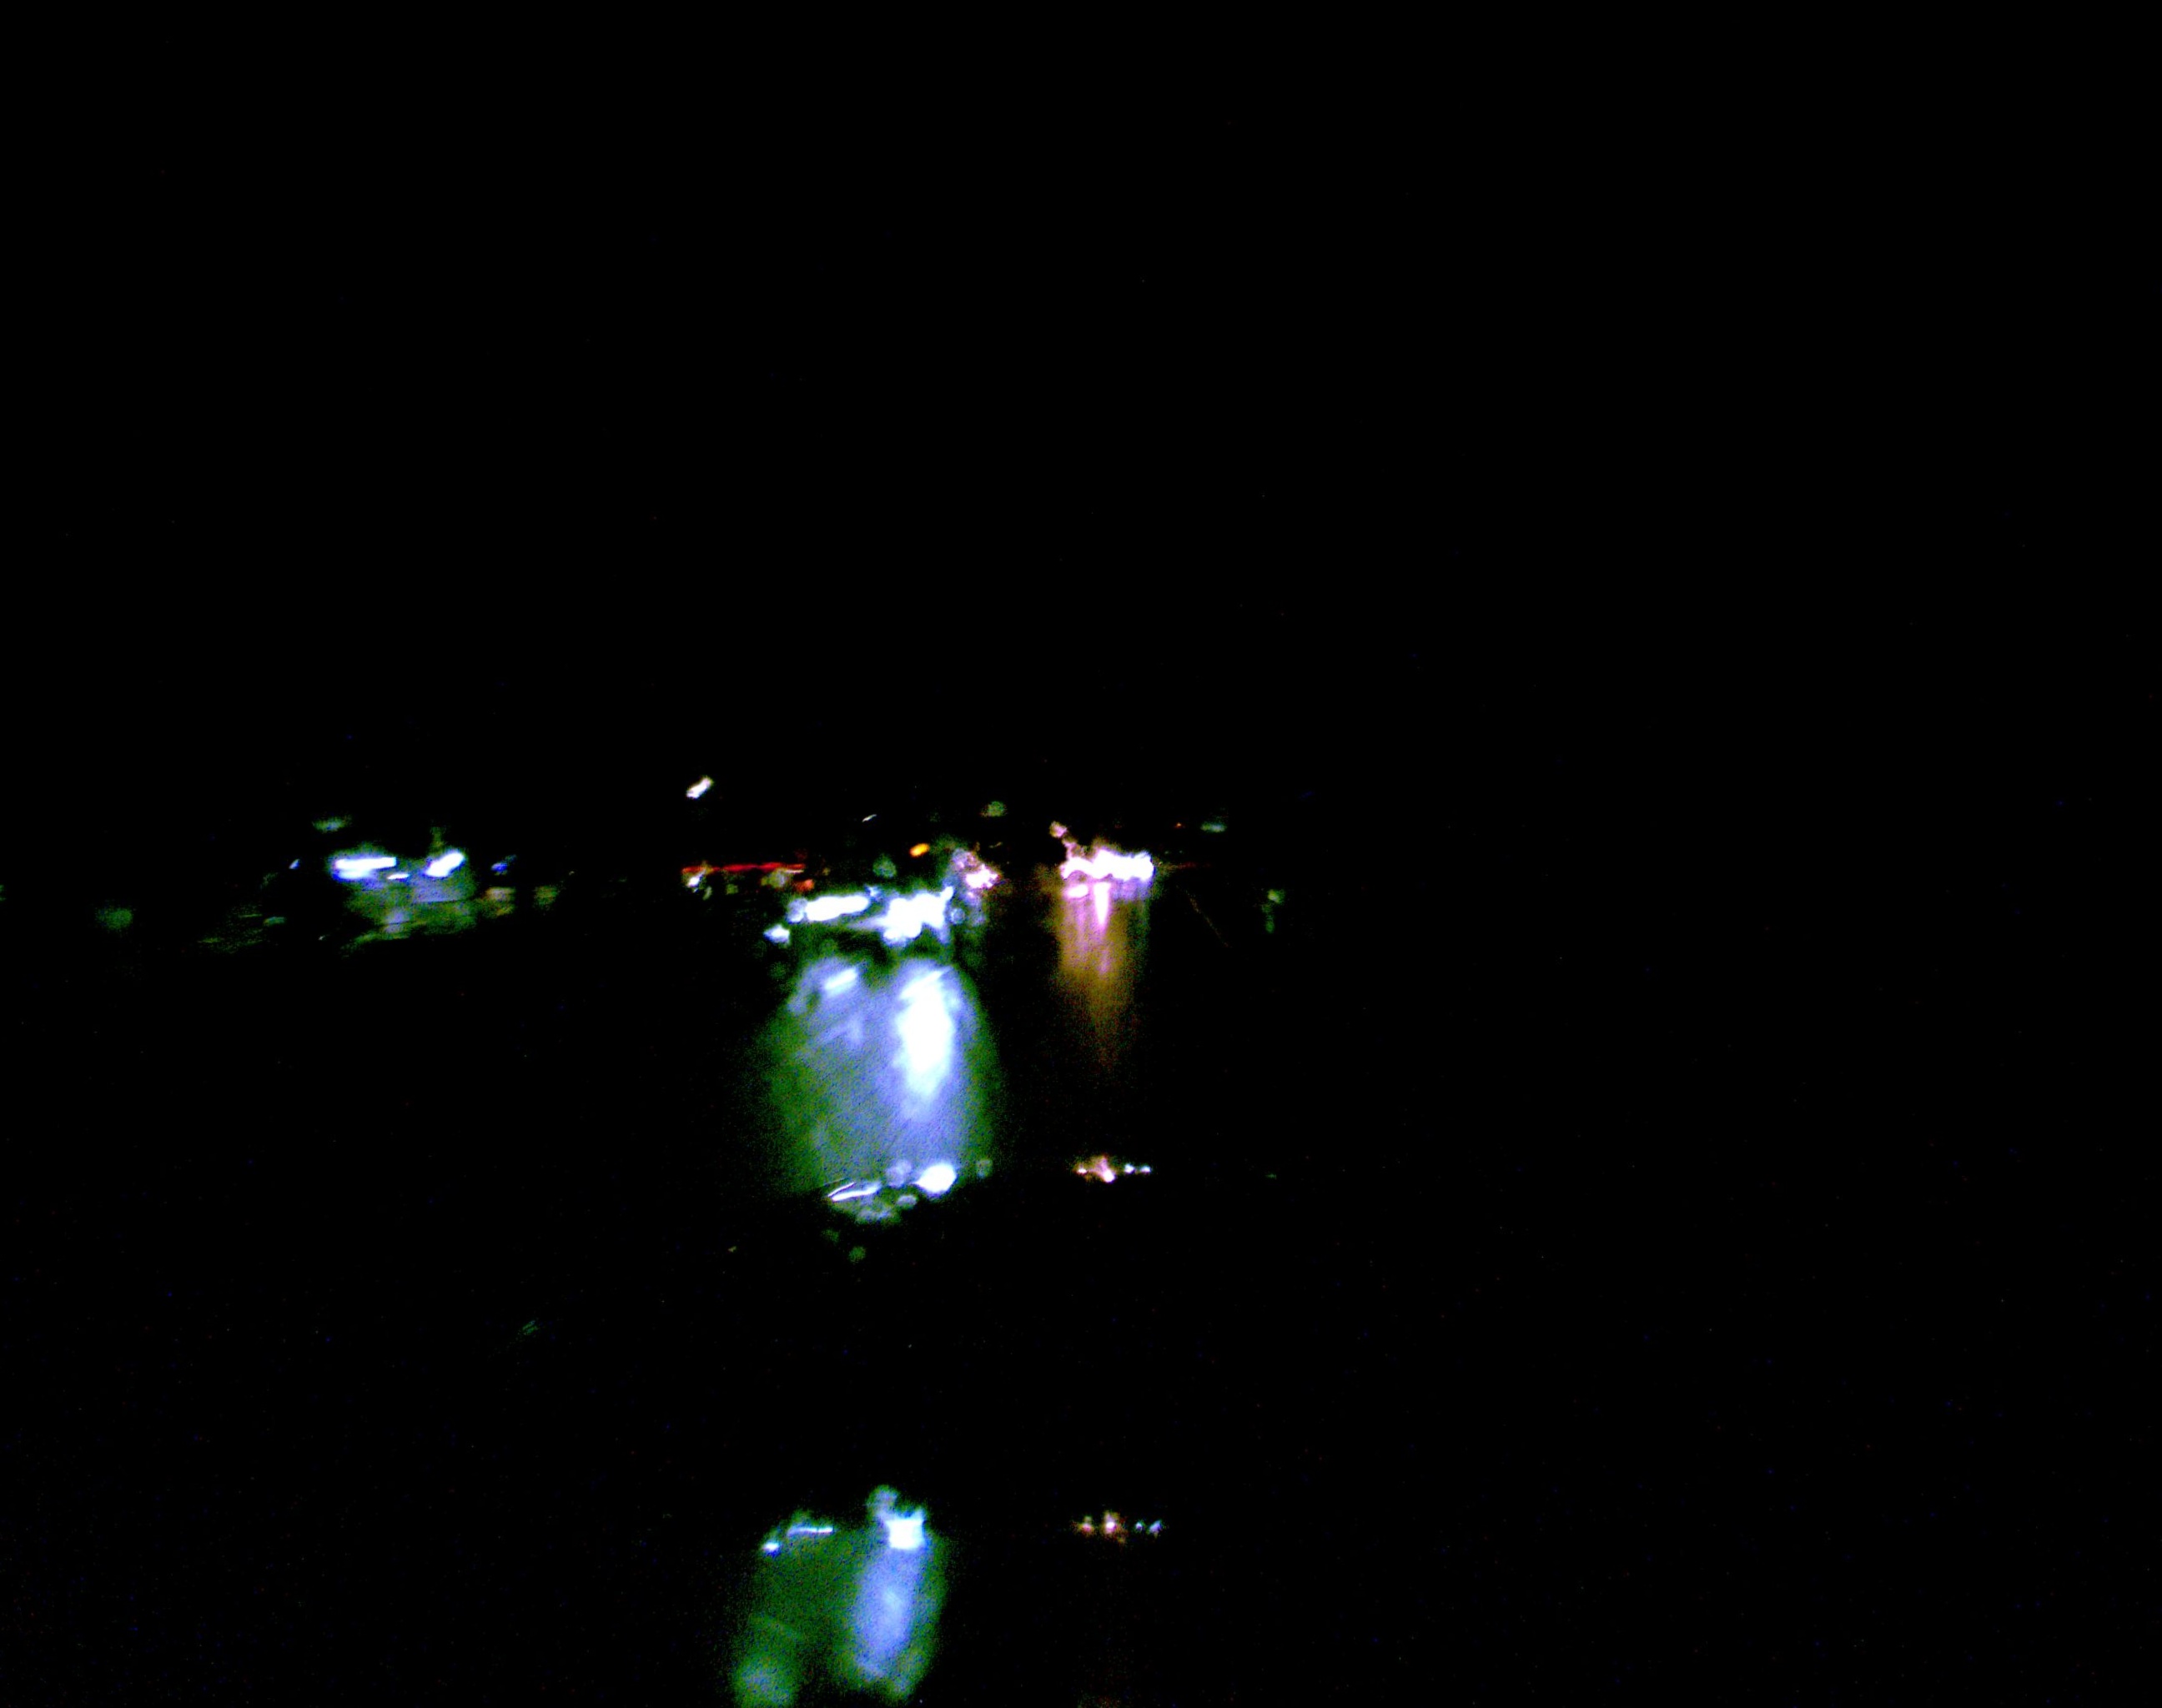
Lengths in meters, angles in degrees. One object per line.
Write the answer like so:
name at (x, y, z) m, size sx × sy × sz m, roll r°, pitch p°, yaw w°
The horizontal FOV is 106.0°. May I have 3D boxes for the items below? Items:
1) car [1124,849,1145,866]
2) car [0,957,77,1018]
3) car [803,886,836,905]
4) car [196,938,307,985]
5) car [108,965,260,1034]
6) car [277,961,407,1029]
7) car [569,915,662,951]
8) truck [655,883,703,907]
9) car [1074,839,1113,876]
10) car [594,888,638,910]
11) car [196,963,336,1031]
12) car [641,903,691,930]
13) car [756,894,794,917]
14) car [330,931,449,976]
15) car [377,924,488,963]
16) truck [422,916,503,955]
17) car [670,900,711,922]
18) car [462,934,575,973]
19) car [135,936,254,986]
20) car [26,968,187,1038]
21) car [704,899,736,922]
car at (4.689, 0.300, 70.705) m, size 1.582 × 1.379 × 4.333 m, roll 0°, pitch 0°, yaw 7°
car at (-41.853, 5.235, 31.295) m, size 1.730 × 2.013 × 3.993 m, roll -1°, pitch 0°, yaw -5°
car at (-26.400, 4.161, 82.317) m, size 1.764 × 1.596 × 4.003 m, roll -7°, pitch -1°, yaw 3°
car at (-44.859, 5.802, 44.082) m, size 3.969 × 1.856 × 2.002 m, roll -7°, pitch -2°, yaw 4°
car at (-33.888, 5.434, 30.931) m, size 1.713 × 1.907 × 3.719 m, roll -1°, pitch 0°, yaw -3°
car at (-28.400, 5.363, 31.466) m, size 1.713 × 1.907 × 3.719 m, roll -1°, pitch 0°, yaw -3°
car at (-26.103, 4.418, 45.750) m, size 3.969 × 1.455 × 1.914 m, roll -7°, pitch -2°, yaw 4°
truck at (-45.005, 4.563, 91.368) m, size 2.314 × 2.463 × 6.488 m, roll -1°, pitch 0°, yaw -2°
car at (0.798, 0.178, 47.592) m, size 1.882 × 2.002 × 4.889 m, roll 0°, pitch 0°, yaw 6°
car at (-51.118, 4.918, 89.625) m, size 1.983 × 2.264 × 4.467 m, roll -1°, pitch 0°, yaw 7°
car at (-31.119, 5.399, 31.269) m, size 1.713 × 1.907 × 3.719 m, roll -1°, pitch 0°, yaw -3°
car at (-29.346, 4.378, 57.682) m, size 1.997 × 1.567 × 4.830 m, roll -5°, pitch -1°, yaw -14°
car at (-26.616, 4.477, 70.965) m, size 1.740 × 1.618 × 3.513 m, roll -6°, pitch -1°, yaw 0°
car at (-33.266, 4.747, 39.313) m, size 4.010 × 1.640 × 1.982 m, roll -1°, pitch 1°, yaw -28°
car at (-33.484, 4.602, 42.163) m, size 3.988 × 1.640 × 1.993 m, roll -1°, pitch 0°, yaw -11°
truck at (-43.787, 5.745, 57.803) m, size 2.076 × 2.118 × 4.495 m, roll -7°, pitch -1°, yaw 0°
car at (-33.976, 4.929, 70.904) m, size 1.674 × 1.618 × 3.513 m, roll -6°, pitch -1°, yaw 0°
car at (-26.161, 4.631, 37.952) m, size 3.969 × 1.201 × 1.849 m, roll -7°, pitch -2°, yaw 4°
car at (-44.770, 5.397, 41.181) m, size 3.969 × 1.856 × 1.934 m, roll -7°, pitch -2°, yaw 4°
car at (-36.853, 5.576, 30.951) m, size 1.713 × 1.907 × 3.719 m, roll -1°, pitch 0°, yaw -3°
car at (-28.036, 4.394, 63.241) m, size 1.823 × 1.567 × 4.167 m, roll -5°, pitch -1°, yaw -29°
